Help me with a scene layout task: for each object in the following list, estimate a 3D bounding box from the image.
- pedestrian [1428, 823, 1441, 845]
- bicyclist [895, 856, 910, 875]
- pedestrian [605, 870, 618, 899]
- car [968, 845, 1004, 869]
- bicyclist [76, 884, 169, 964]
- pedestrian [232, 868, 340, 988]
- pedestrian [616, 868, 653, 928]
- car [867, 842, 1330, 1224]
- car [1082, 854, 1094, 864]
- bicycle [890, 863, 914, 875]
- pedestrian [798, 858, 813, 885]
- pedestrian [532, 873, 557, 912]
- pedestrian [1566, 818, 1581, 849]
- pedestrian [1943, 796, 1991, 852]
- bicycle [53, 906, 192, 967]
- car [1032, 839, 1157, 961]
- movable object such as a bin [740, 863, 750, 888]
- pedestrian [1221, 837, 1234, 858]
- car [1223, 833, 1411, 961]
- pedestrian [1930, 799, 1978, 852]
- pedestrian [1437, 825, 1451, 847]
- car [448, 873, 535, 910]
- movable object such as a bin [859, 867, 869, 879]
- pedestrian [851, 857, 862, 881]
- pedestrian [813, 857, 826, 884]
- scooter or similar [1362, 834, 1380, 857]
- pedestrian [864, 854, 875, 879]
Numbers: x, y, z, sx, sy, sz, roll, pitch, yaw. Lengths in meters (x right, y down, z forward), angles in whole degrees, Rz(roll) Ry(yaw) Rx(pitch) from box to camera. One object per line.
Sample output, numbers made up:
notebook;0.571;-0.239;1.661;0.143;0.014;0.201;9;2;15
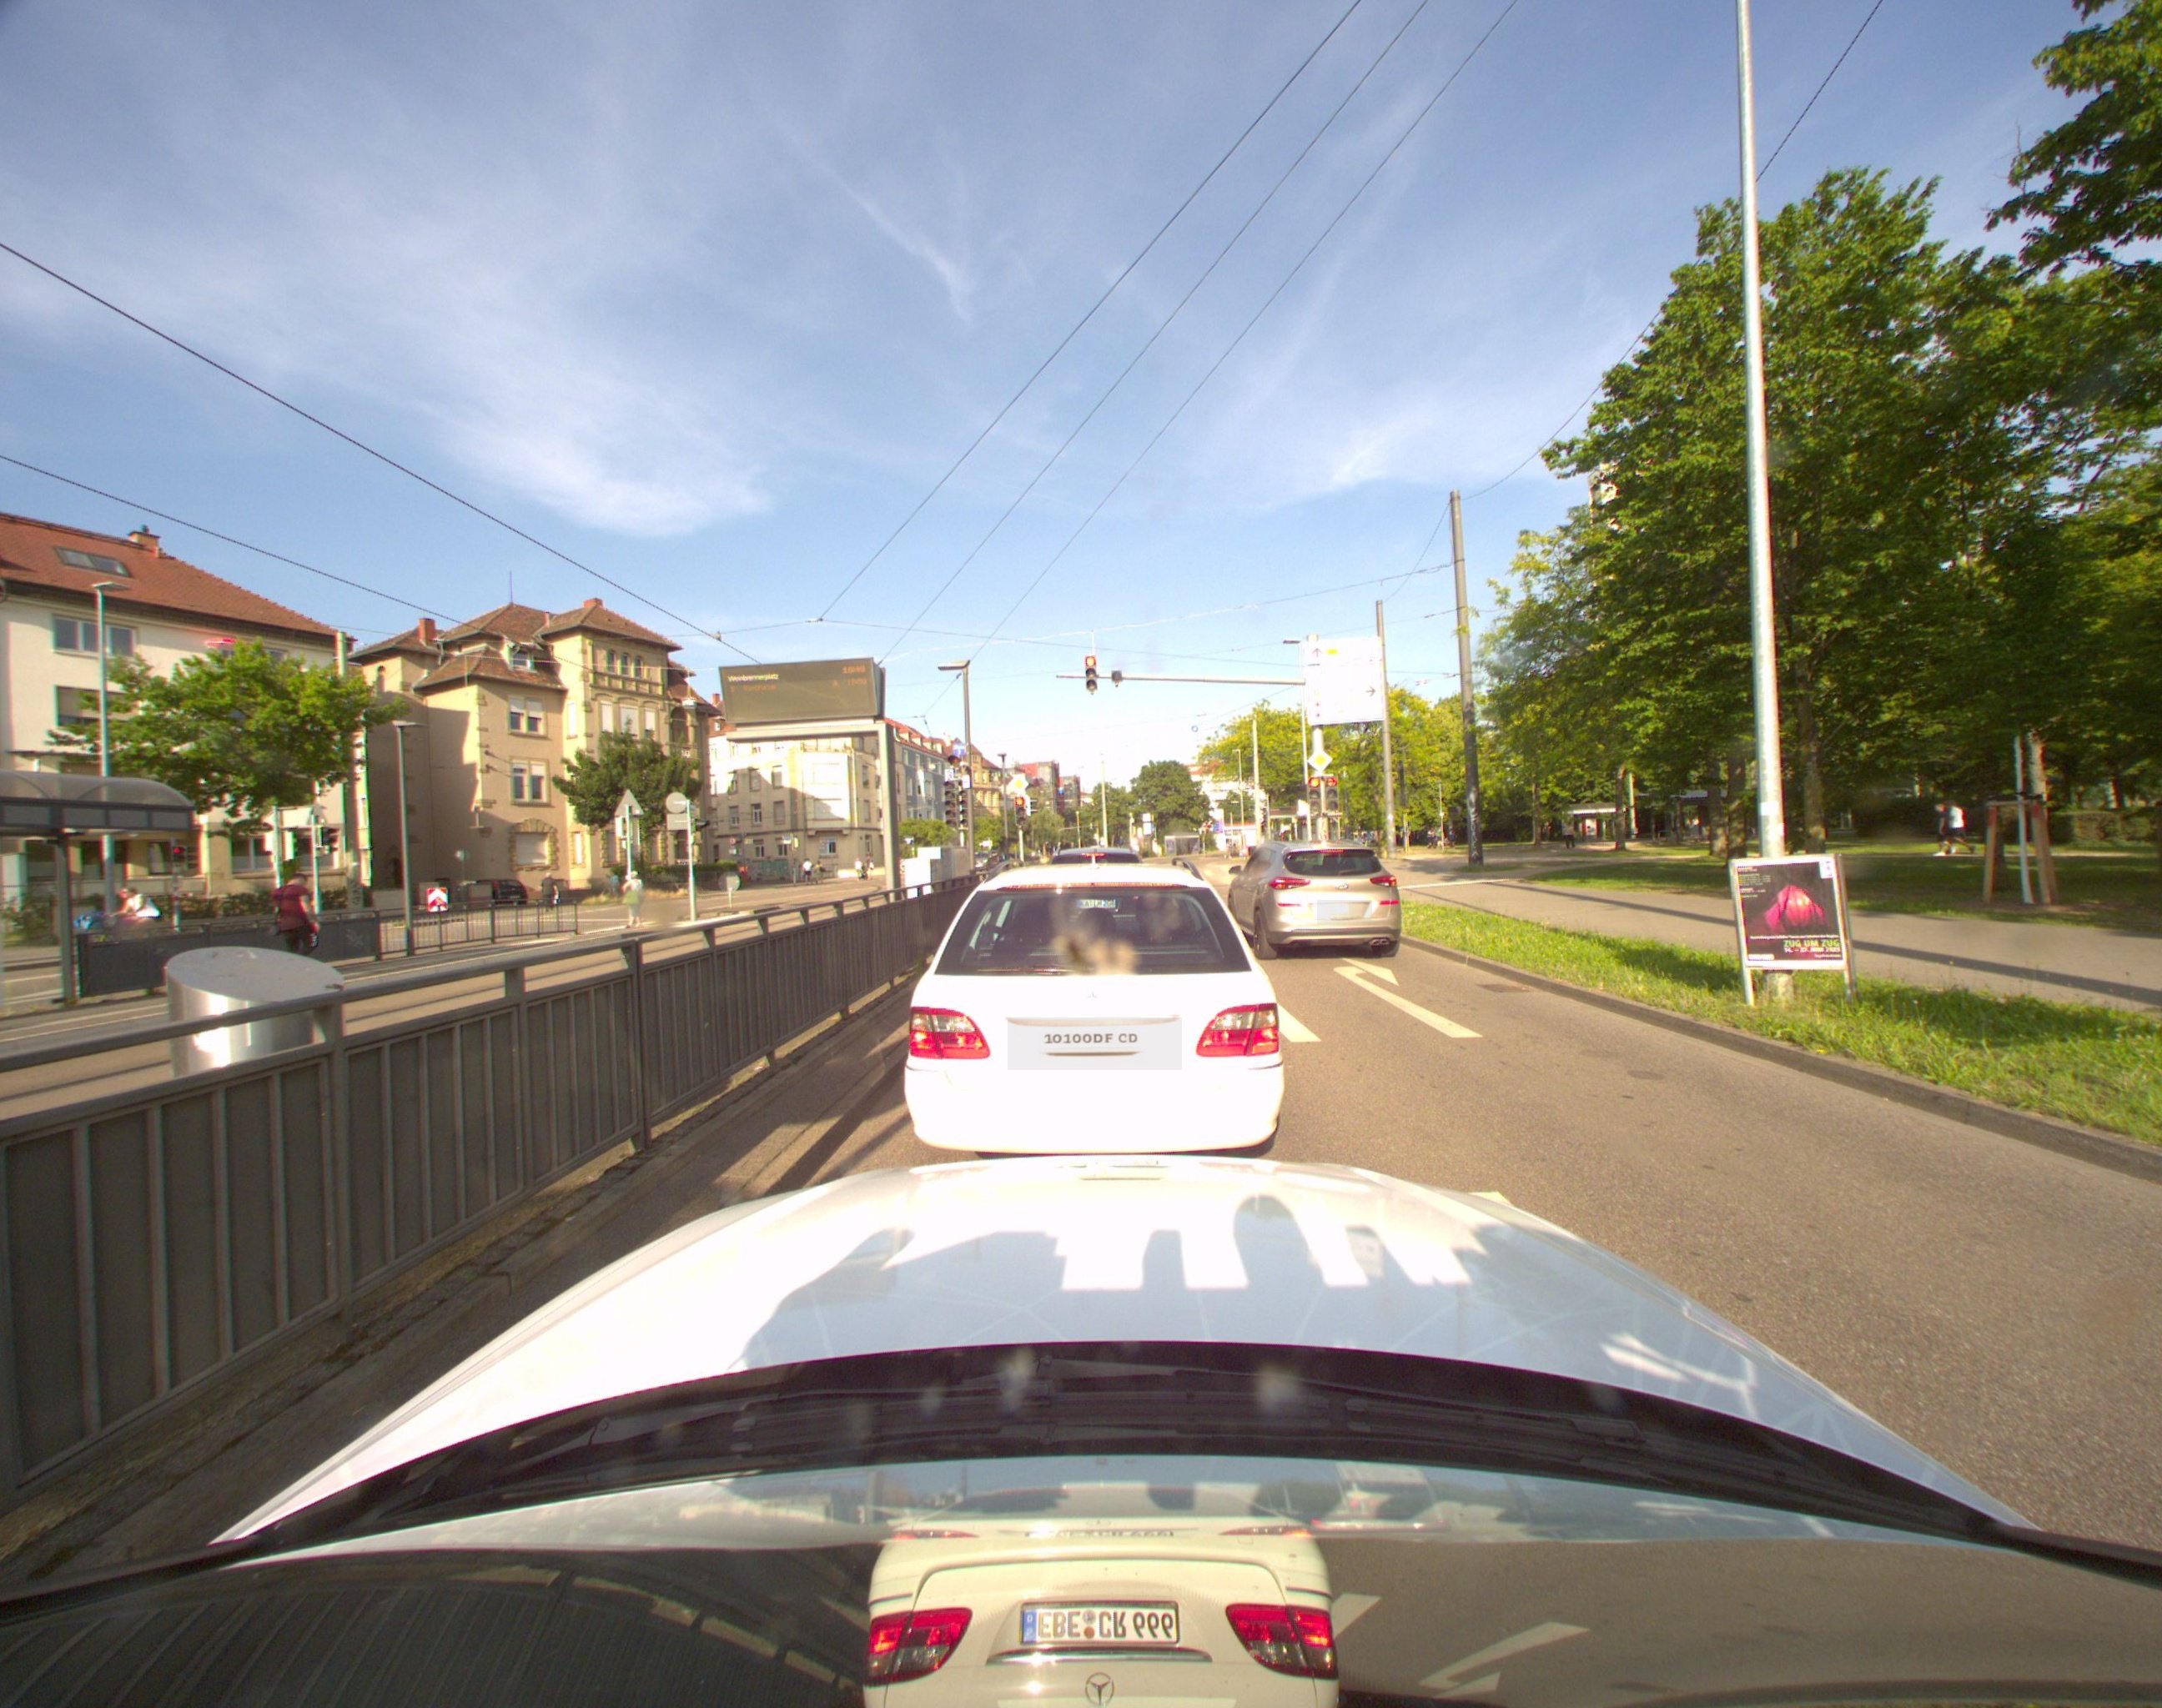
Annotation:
pedestrian;27.438;-1.534;63.263;0.638;1.665;0.691;-3;0;1
bicyclist;-15.885;1.016;72.318;0.653;1.569;1.050;-3;0;39
pedestrian;-24.976;1.609;43.359;0.400;1.515;0.392;-3;0;28
car;-8.902;0.250;76.584;2.135;2.013;5.395;-3;0;6
bicyclist;-20.558;1.480;17.495;0.702;1.624;1.072;0;1;2
pedestrian;-11.865;1.074;12.183;0.668;1.670;0.883;-3;0;-1
pedestrian;-12.437;1.219;22.690;0.588;1.589;0.715;-3;0;-2
car;0.127;0.713;5.171;1.828;1.501;3.817;-1;0;2
car;1.126;0.782;133.615;1.670;1.525;4.128;-3;1;3
bicycle;-15.854;1.336;72.347;0.733;1.006;2.010;-3;0;40
pedestrian;-19.748;1.256;58.368;0.653;1.881;0.629;-3;0;16
pedestrian;-23.179;1.651;35.184;0.672;1.651;0.608;-3;0;28
pedestrian;29.591;-1.215;48.953;0.464;1.868;0.599;0;-1;-38
pedestrian;30.223;-1.007;27.801;0.668;1.897;0.880;-1;0;3
bicycle;-20.548;1.745;17.532;0.722;1.110;1.866;0;0;3
car;0.246;0.609;12.774;1.635;1.600;3.817;-1;0;2
movable object such as a bin;-23.408;1.488;56.700;0.265;1.709;2.360;-3;0;-29
pedestrian;14.843;-0.680;82.631;0.986;2.013;0.833;-3;0;29
car;3.340;0.538;12.300;1.828;1.600;3.817;-1;0;2
pedestrian;29.522;-0.957;27.555;0.668;1.777;0.881;-1;0;3
pedestrian;27.663;-1.349;62.082;0.638;1.665;0.691;-3;0;1
car;-29.406;1.880;40.616;3.950;1.632;1.787;-3;1;26
movable object such as a bin;-17.147;1.483;64.406;0.581;0.947;0.663;-3;0;0
pedestrian;-17.488;1.171;63.361;0.582;1.881;0.627;-3;0;1
pedestrian;-18.678;1.182;58.198;0.672;1.848;0.649;-3;0;-1
scooter or similar;16.112;-0.446;45.231;0.351;1.232;1.131;-3;0;-12
pedestrian;-16.552;0.945;63.688;0.582;1.880;0.627;-3;4;-1
